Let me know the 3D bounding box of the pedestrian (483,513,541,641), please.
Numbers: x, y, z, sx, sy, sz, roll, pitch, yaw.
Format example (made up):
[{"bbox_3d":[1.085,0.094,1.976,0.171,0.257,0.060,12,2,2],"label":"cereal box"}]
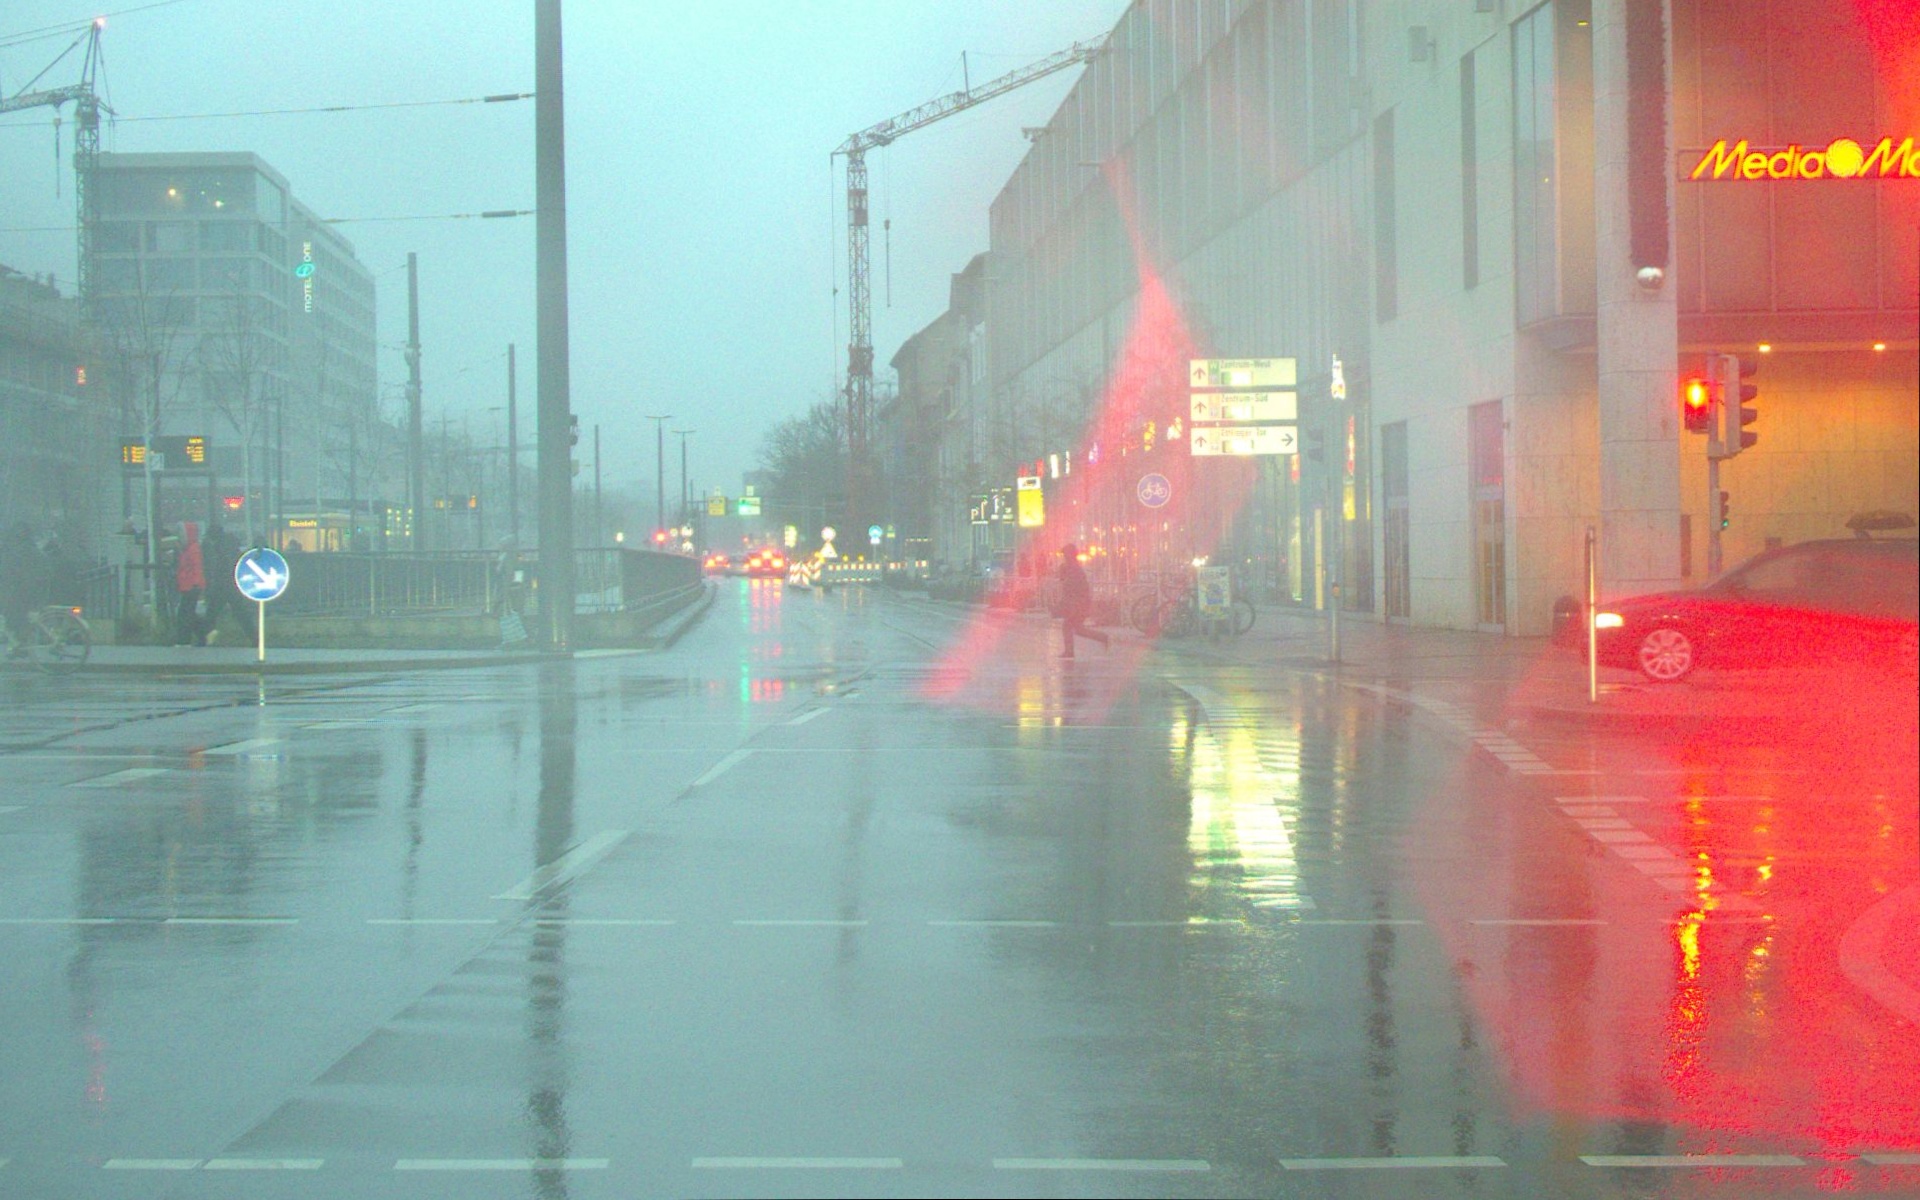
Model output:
[{"bbox_3d":[-6.209,-0.316,47.647,0.703,1.754,0.652,-1,1,-1],"label":"pedestrian"}]

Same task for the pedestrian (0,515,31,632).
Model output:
[{"bbox_3d":[-13.319,-0.366,47.523,0.611,1.613,0.708,-2,1,-45],"label":"pedestrian"}]

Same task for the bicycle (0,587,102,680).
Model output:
[{"bbox_3d":[-10.656,0.357,38.111,2.128,0.988,0.541,2,-3,-4],"label":"bicycle"}]

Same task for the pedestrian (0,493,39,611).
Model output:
[{"bbox_3d":[-14.078,-0.713,51.136,0.619,1.740,0.613,-1,1,-6],"label":"pedestrian"}]

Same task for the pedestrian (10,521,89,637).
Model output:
[{"bbox_3d":[-12.678,-0.295,47.892,0.743,1.602,0.812,-2,1,-43],"label":"pedestrian"}]

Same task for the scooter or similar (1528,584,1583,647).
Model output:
[{"bbox_3d":[8.877,0.229,51.281,0.741,0.913,0.400,-1,1,1],"label":"scooter or similar"}]

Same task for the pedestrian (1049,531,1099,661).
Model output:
[{"bbox_3d":[1.559,-0.057,47.198,0.633,1.766,0.484,-1,1,-2],"label":"pedestrian"}]

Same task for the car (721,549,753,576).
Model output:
[{"bbox_3d":[-14.641,-2.458,226.252,1.888,1.777,3.714,1,0,-1],"label":"car"}]

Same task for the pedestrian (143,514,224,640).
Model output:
[{"bbox_3d":[-10.401,-0.307,46.073,0.832,1.673,0.618,-1,1,23],"label":"pedestrian"}]

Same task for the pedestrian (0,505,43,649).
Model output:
[{"bbox_3d":[-10.670,-0.252,38.132,0.814,1.565,0.536,2,-3,-3],"label":"pedestrian"}]

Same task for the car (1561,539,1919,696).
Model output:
[{"bbox_3d":[8.586,0.167,35.676,4.539,1.568,1.796,-1,1,12],"label":"car"}]

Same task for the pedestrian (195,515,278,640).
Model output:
[{"bbox_3d":[-9.845,-0.313,46.802,0.844,1.682,0.676,-1,1,25],"label":"pedestrian"}]
